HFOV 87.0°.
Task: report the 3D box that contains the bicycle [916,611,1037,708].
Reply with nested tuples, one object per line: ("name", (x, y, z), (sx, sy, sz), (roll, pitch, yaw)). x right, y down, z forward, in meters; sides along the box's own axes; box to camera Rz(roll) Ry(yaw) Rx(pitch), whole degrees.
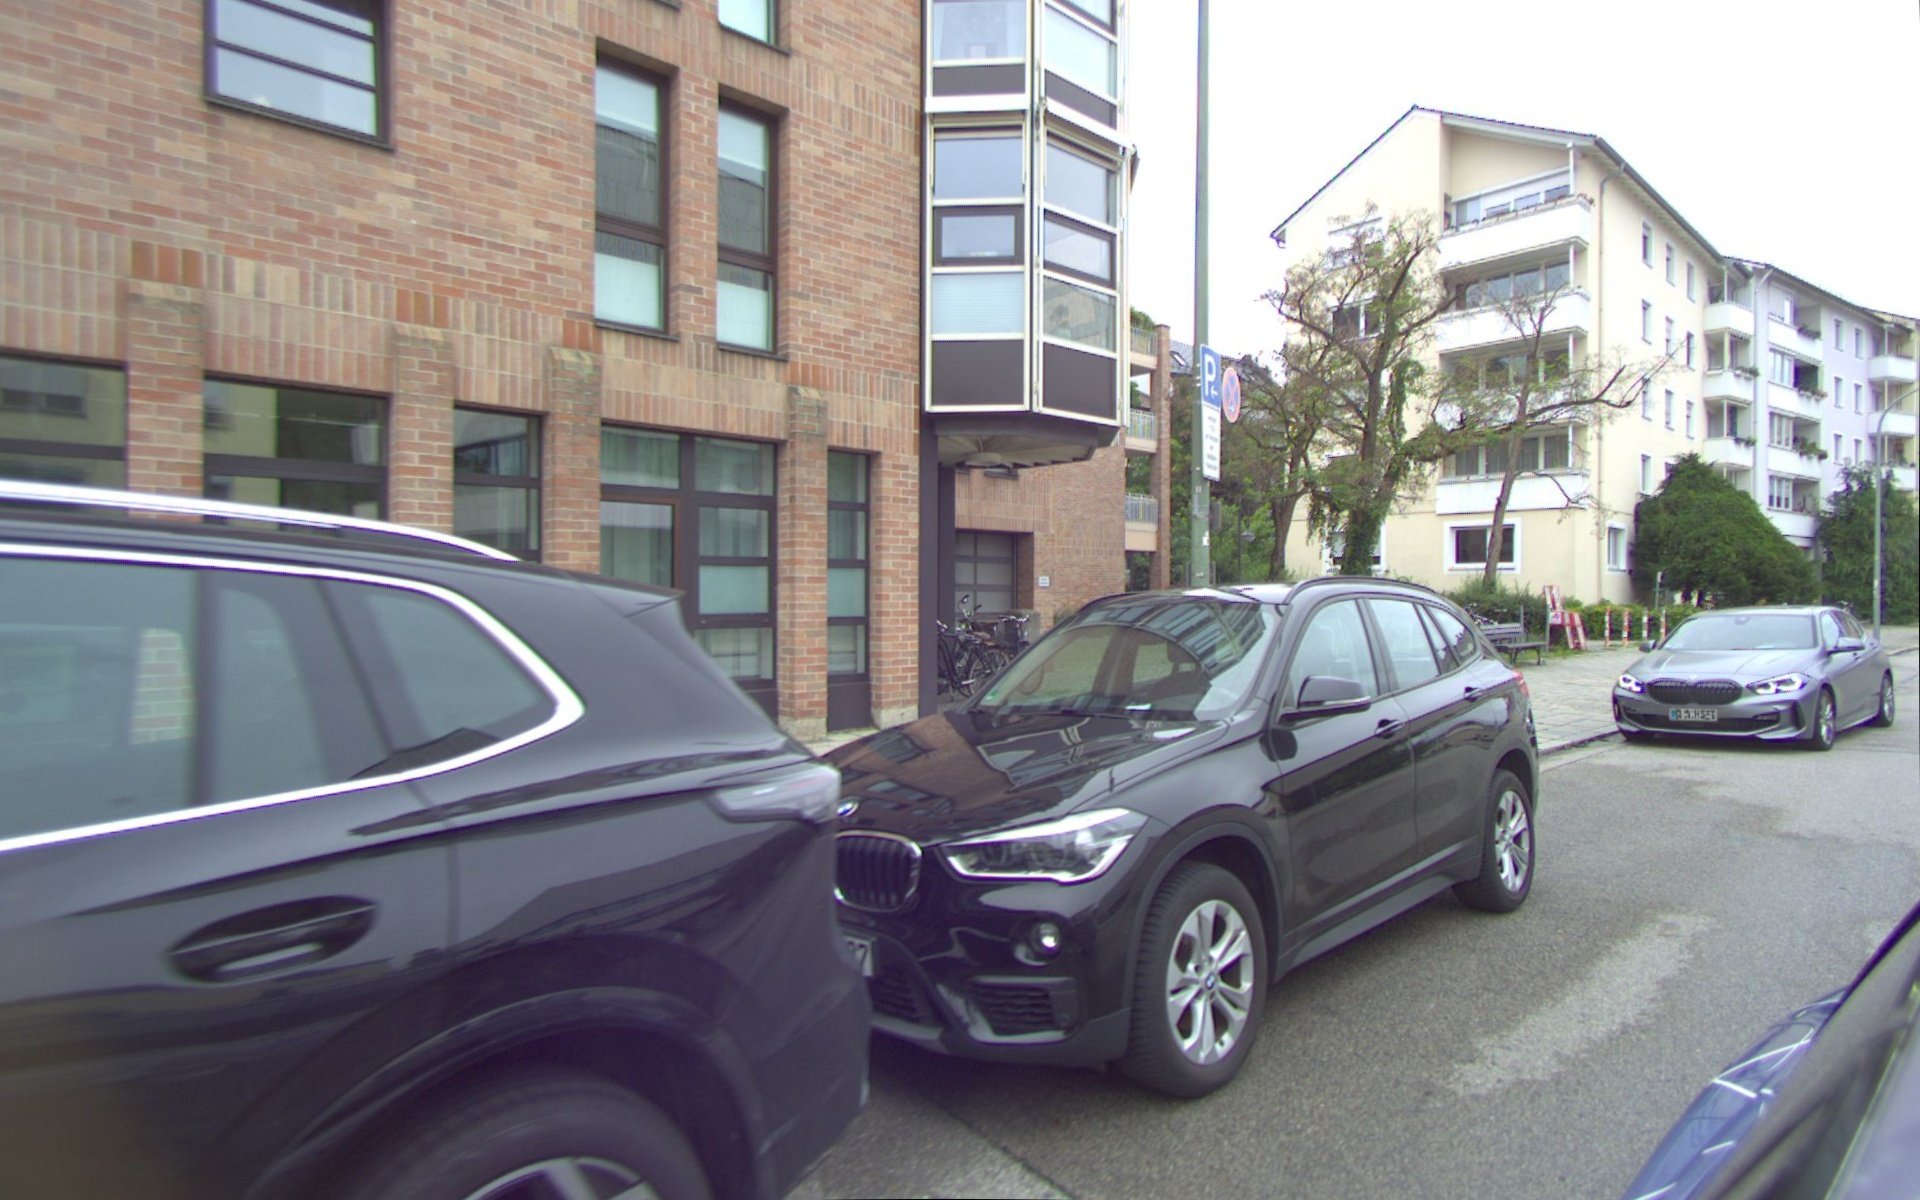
("bicycle", (0.215, 0.684, 12.233), (1.491, 1.069, 0.535), (0, 0, -41))

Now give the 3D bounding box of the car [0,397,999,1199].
("car", (-2.181, 0.620, 1.286), (1.878, 1.666, 4.569), (-1, 0, 45))

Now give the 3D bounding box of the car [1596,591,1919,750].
("car", (9.064, 0.674, 11.356), (4.254, 1.455, 1.881), (0, -2, -38))

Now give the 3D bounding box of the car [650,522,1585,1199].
("car", (1.092, 0.598, 4.589), (4.432, 1.611, 1.879), (0, 1, -43))

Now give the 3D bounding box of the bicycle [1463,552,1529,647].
("bicycle", (12.051, -0.023, 22.740), (1.958, 2.039, 0.653), (0, 0, -41))

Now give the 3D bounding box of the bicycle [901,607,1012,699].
("bicycle", (-0.026, 0.638, 12.734), (1.491, 1.069, 0.425), (0, 0, -41))
